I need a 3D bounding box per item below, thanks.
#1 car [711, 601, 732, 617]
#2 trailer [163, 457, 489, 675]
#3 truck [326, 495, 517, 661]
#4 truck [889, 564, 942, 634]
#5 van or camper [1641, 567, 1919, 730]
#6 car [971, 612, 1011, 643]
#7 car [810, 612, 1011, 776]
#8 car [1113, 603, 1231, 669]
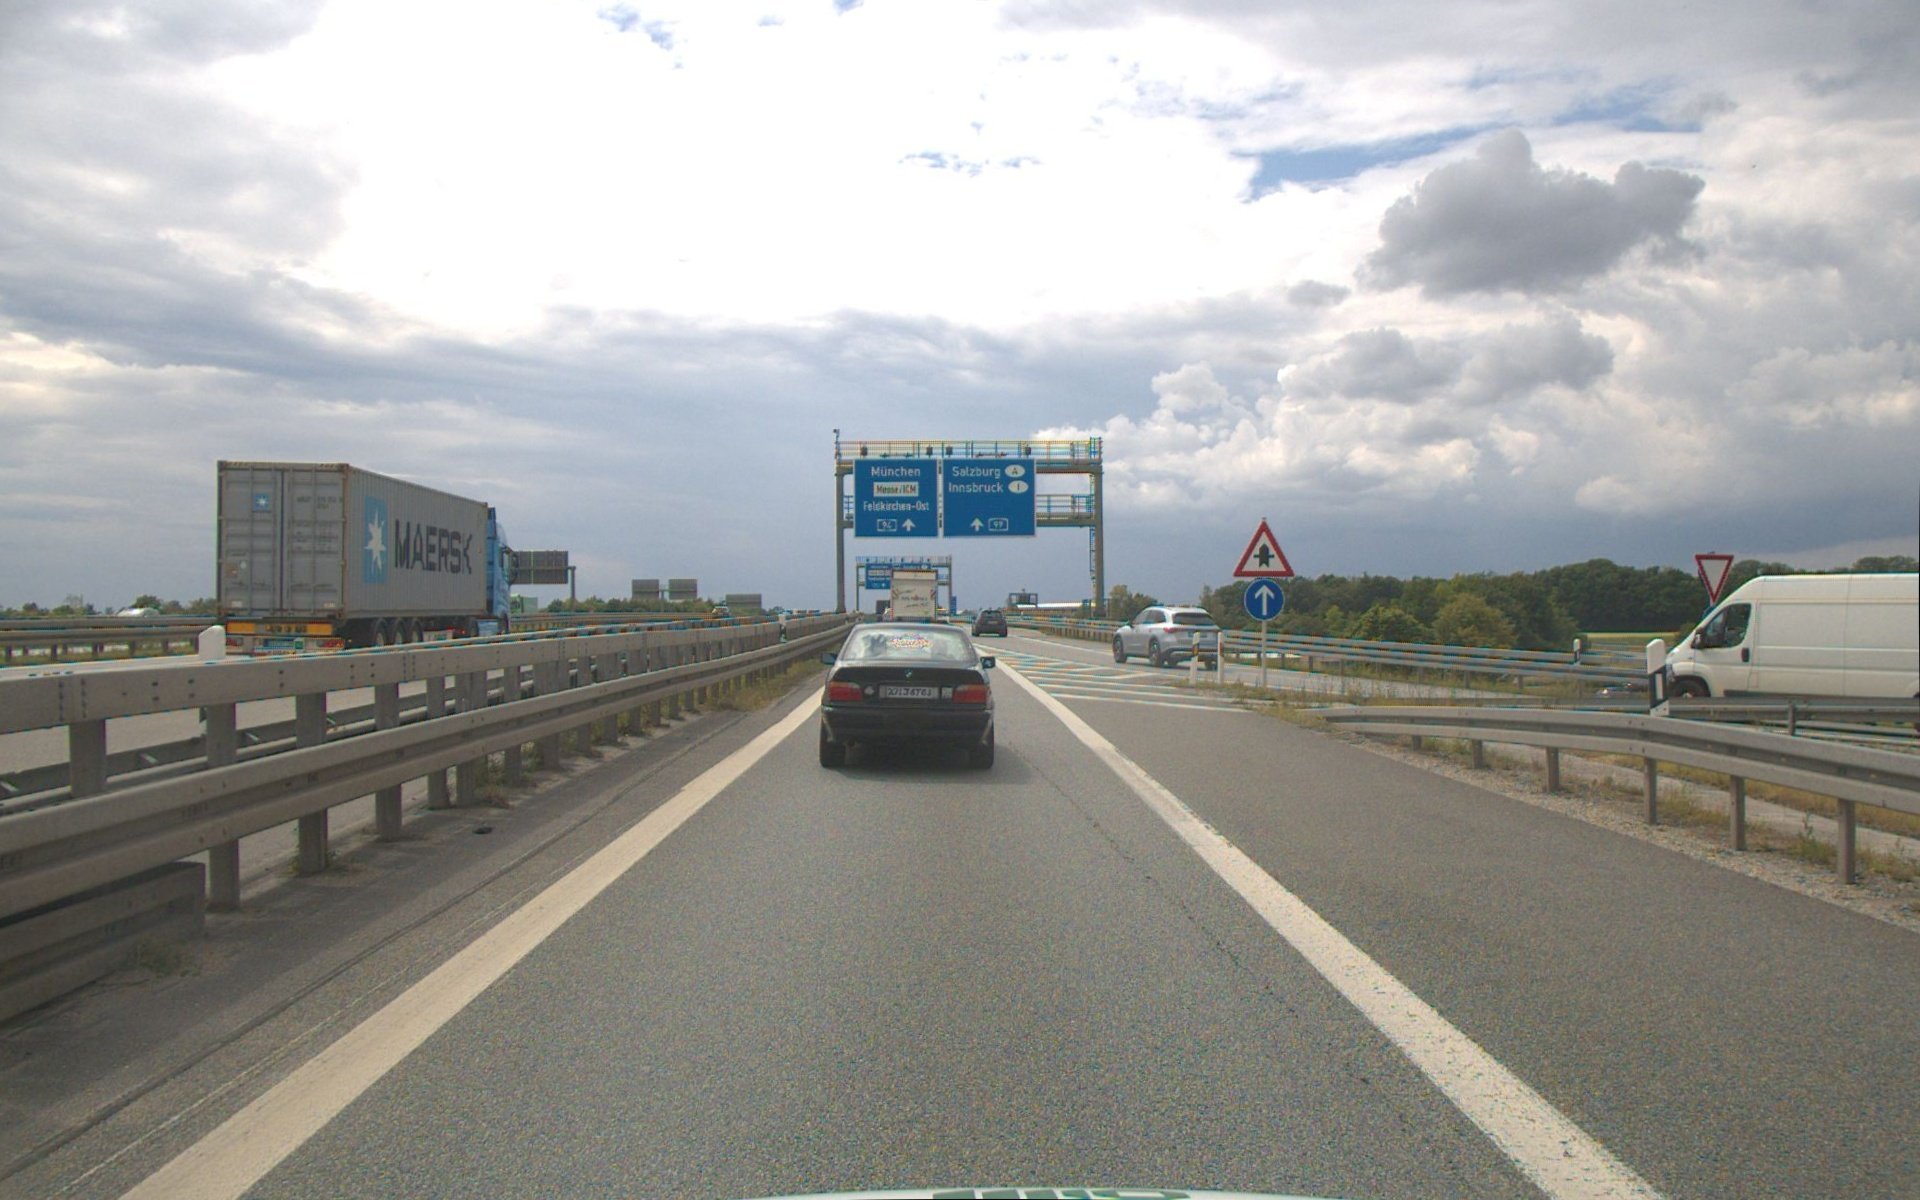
[{"bbox_3d":[-24.513,0.896,170.086,1.855,1.625,4.413,1,0,-5],"label":"car"},{"bbox_3d":[-13.585,-0.600,37.048,3.172,3.993,12.370,1,0,-4],"label":"trailer"},{"bbox_3d":[-14.008,-0.527,43.600,3.182,3.980,6.604,1,0,-4],"label":"truck"},{"bbox_3d":[-2.109,-0.031,78.121,2.355,3.144,6.367,1,0,-2],"label":"truck"},{"bbox_3d":[14.112,0.726,26.292,2.204,2.402,5.871,2,-1,-33],"label":"van or camper"},{"bbox_3d":[1.617,1.442,88.390,1.953,1.579,3.999,1,0,-2],"label":"car"},{"bbox_3d":[-0.429,0.837,16.569,1.746,1.402,4.137,1,0,0],"label":"car"},{"bbox_3d":[5.821,0.954,45.893,1.903,1.714,4.193,0,0,-14],"label":"car"}]
